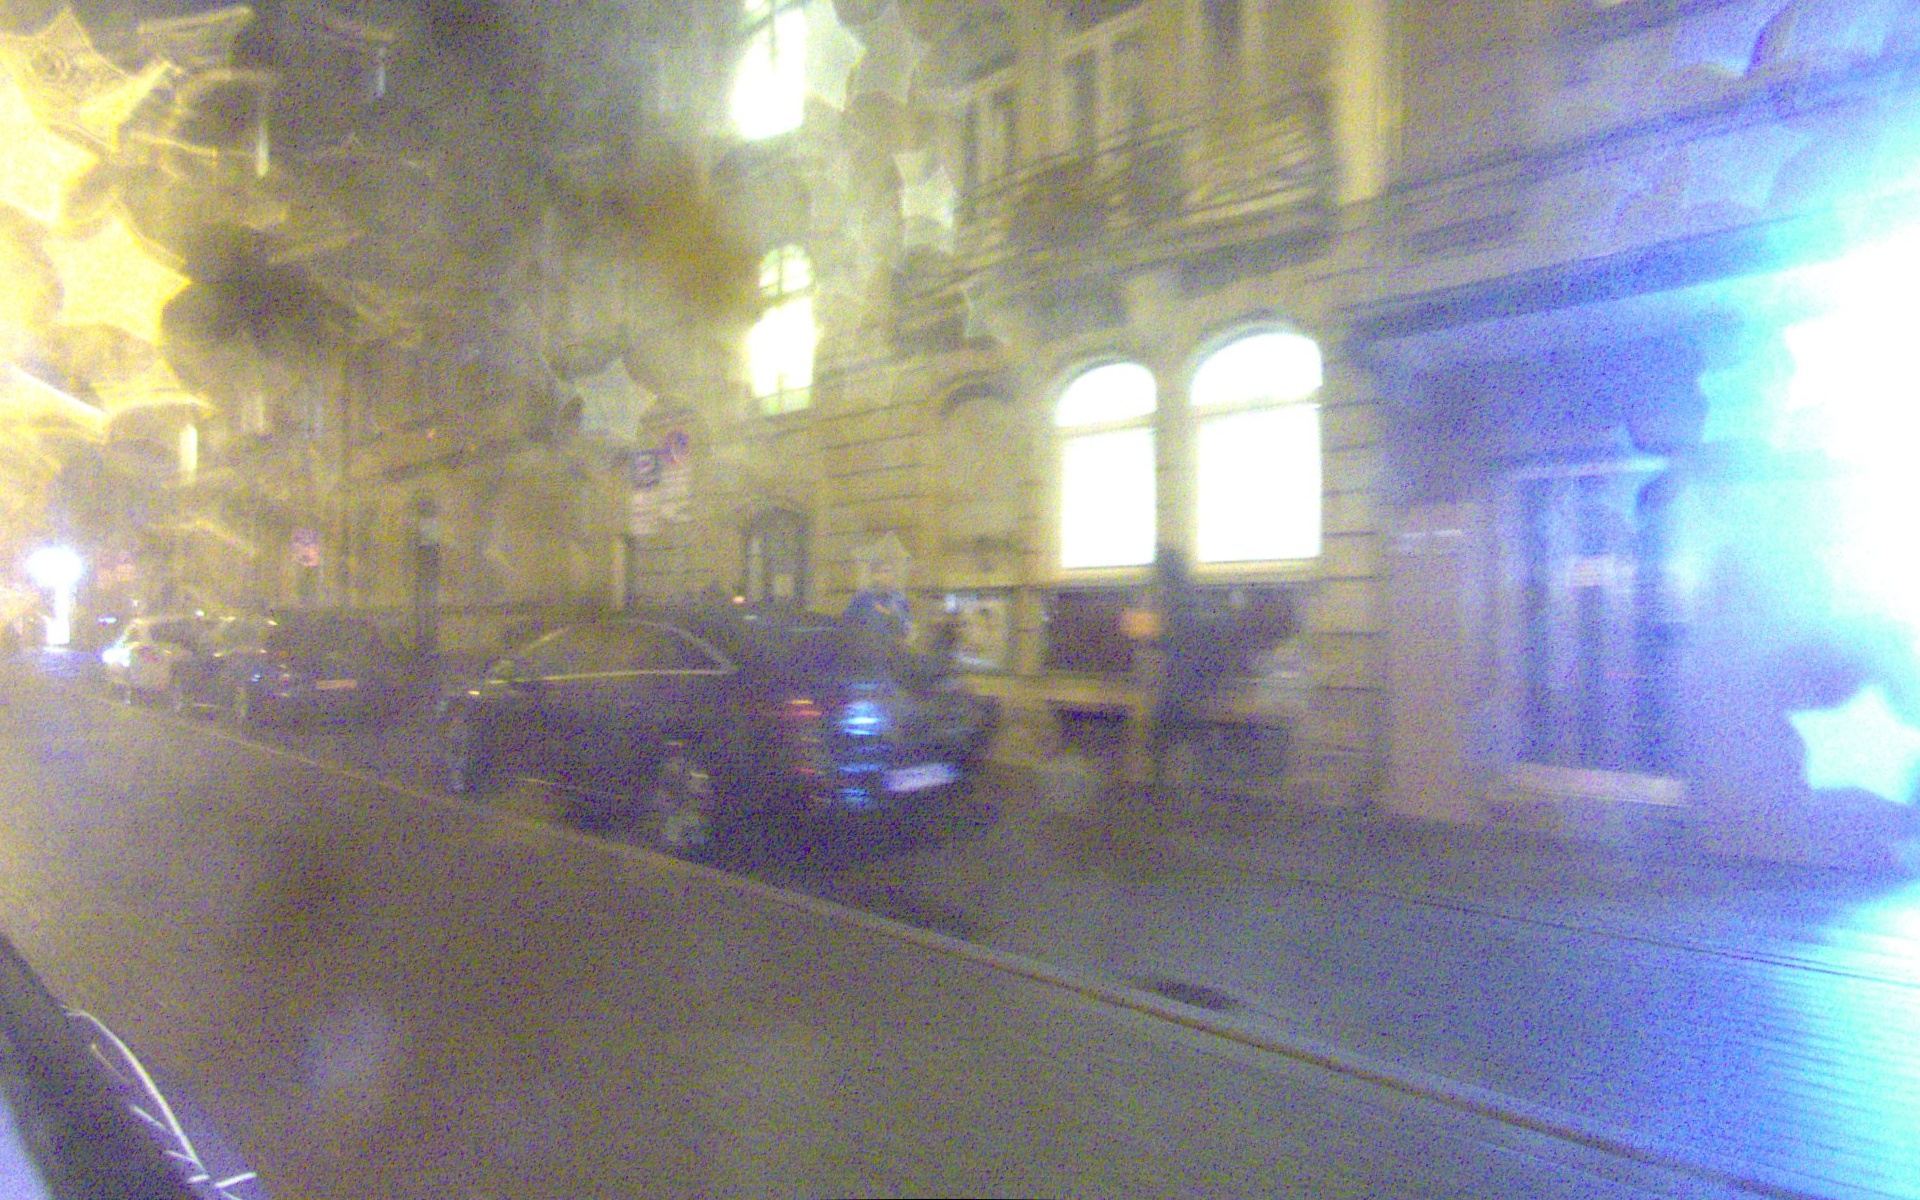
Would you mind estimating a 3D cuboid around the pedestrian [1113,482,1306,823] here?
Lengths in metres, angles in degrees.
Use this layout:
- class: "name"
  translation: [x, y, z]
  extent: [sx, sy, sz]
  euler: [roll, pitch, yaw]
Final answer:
- class: "pedestrian"
  translation: [1.807, 0.359, 7.367]
  extent: [1.116, 2.258, 0.791]
  euler: [-1, -2, 40]

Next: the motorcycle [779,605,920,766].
- class: "motorcycle"
  translation: [-1.115, 0.801, 10.028]
  extent: [1.457, 1.482, 0.531]
  euler: [-1, -1, 41]

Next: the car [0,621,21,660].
- class: "car"
  translation: [-38.421, 1.587, 39.812]
  extent: [3.733, 1.489, 1.828]
  euler: [-1, 0, 41]

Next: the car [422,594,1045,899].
- class: "car"
  translation: [-1.946, 0.762, 7.324]
  extent: [5.029, 1.489, 1.827]
  euler: [-1, -1, 42]

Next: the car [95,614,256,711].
- class: "car"
  translation: [-13.794, 1.016, 17.723]
  extent: [3.786, 1.489, 1.697]
  euler: [-1, 0, 44]

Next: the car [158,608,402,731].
- class: "car"
  translation: [-9.699, 0.886, 14.323]
  extent: [4.154, 1.489, 1.699]
  euler: [-1, -1, 39]

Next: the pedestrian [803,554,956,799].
- class: "pedestrian"
  translation: [-0.666, 0.581, 8.231]
  extent: [1.078, 1.846, 0.667]
  euler: [-1, -1, 43]
